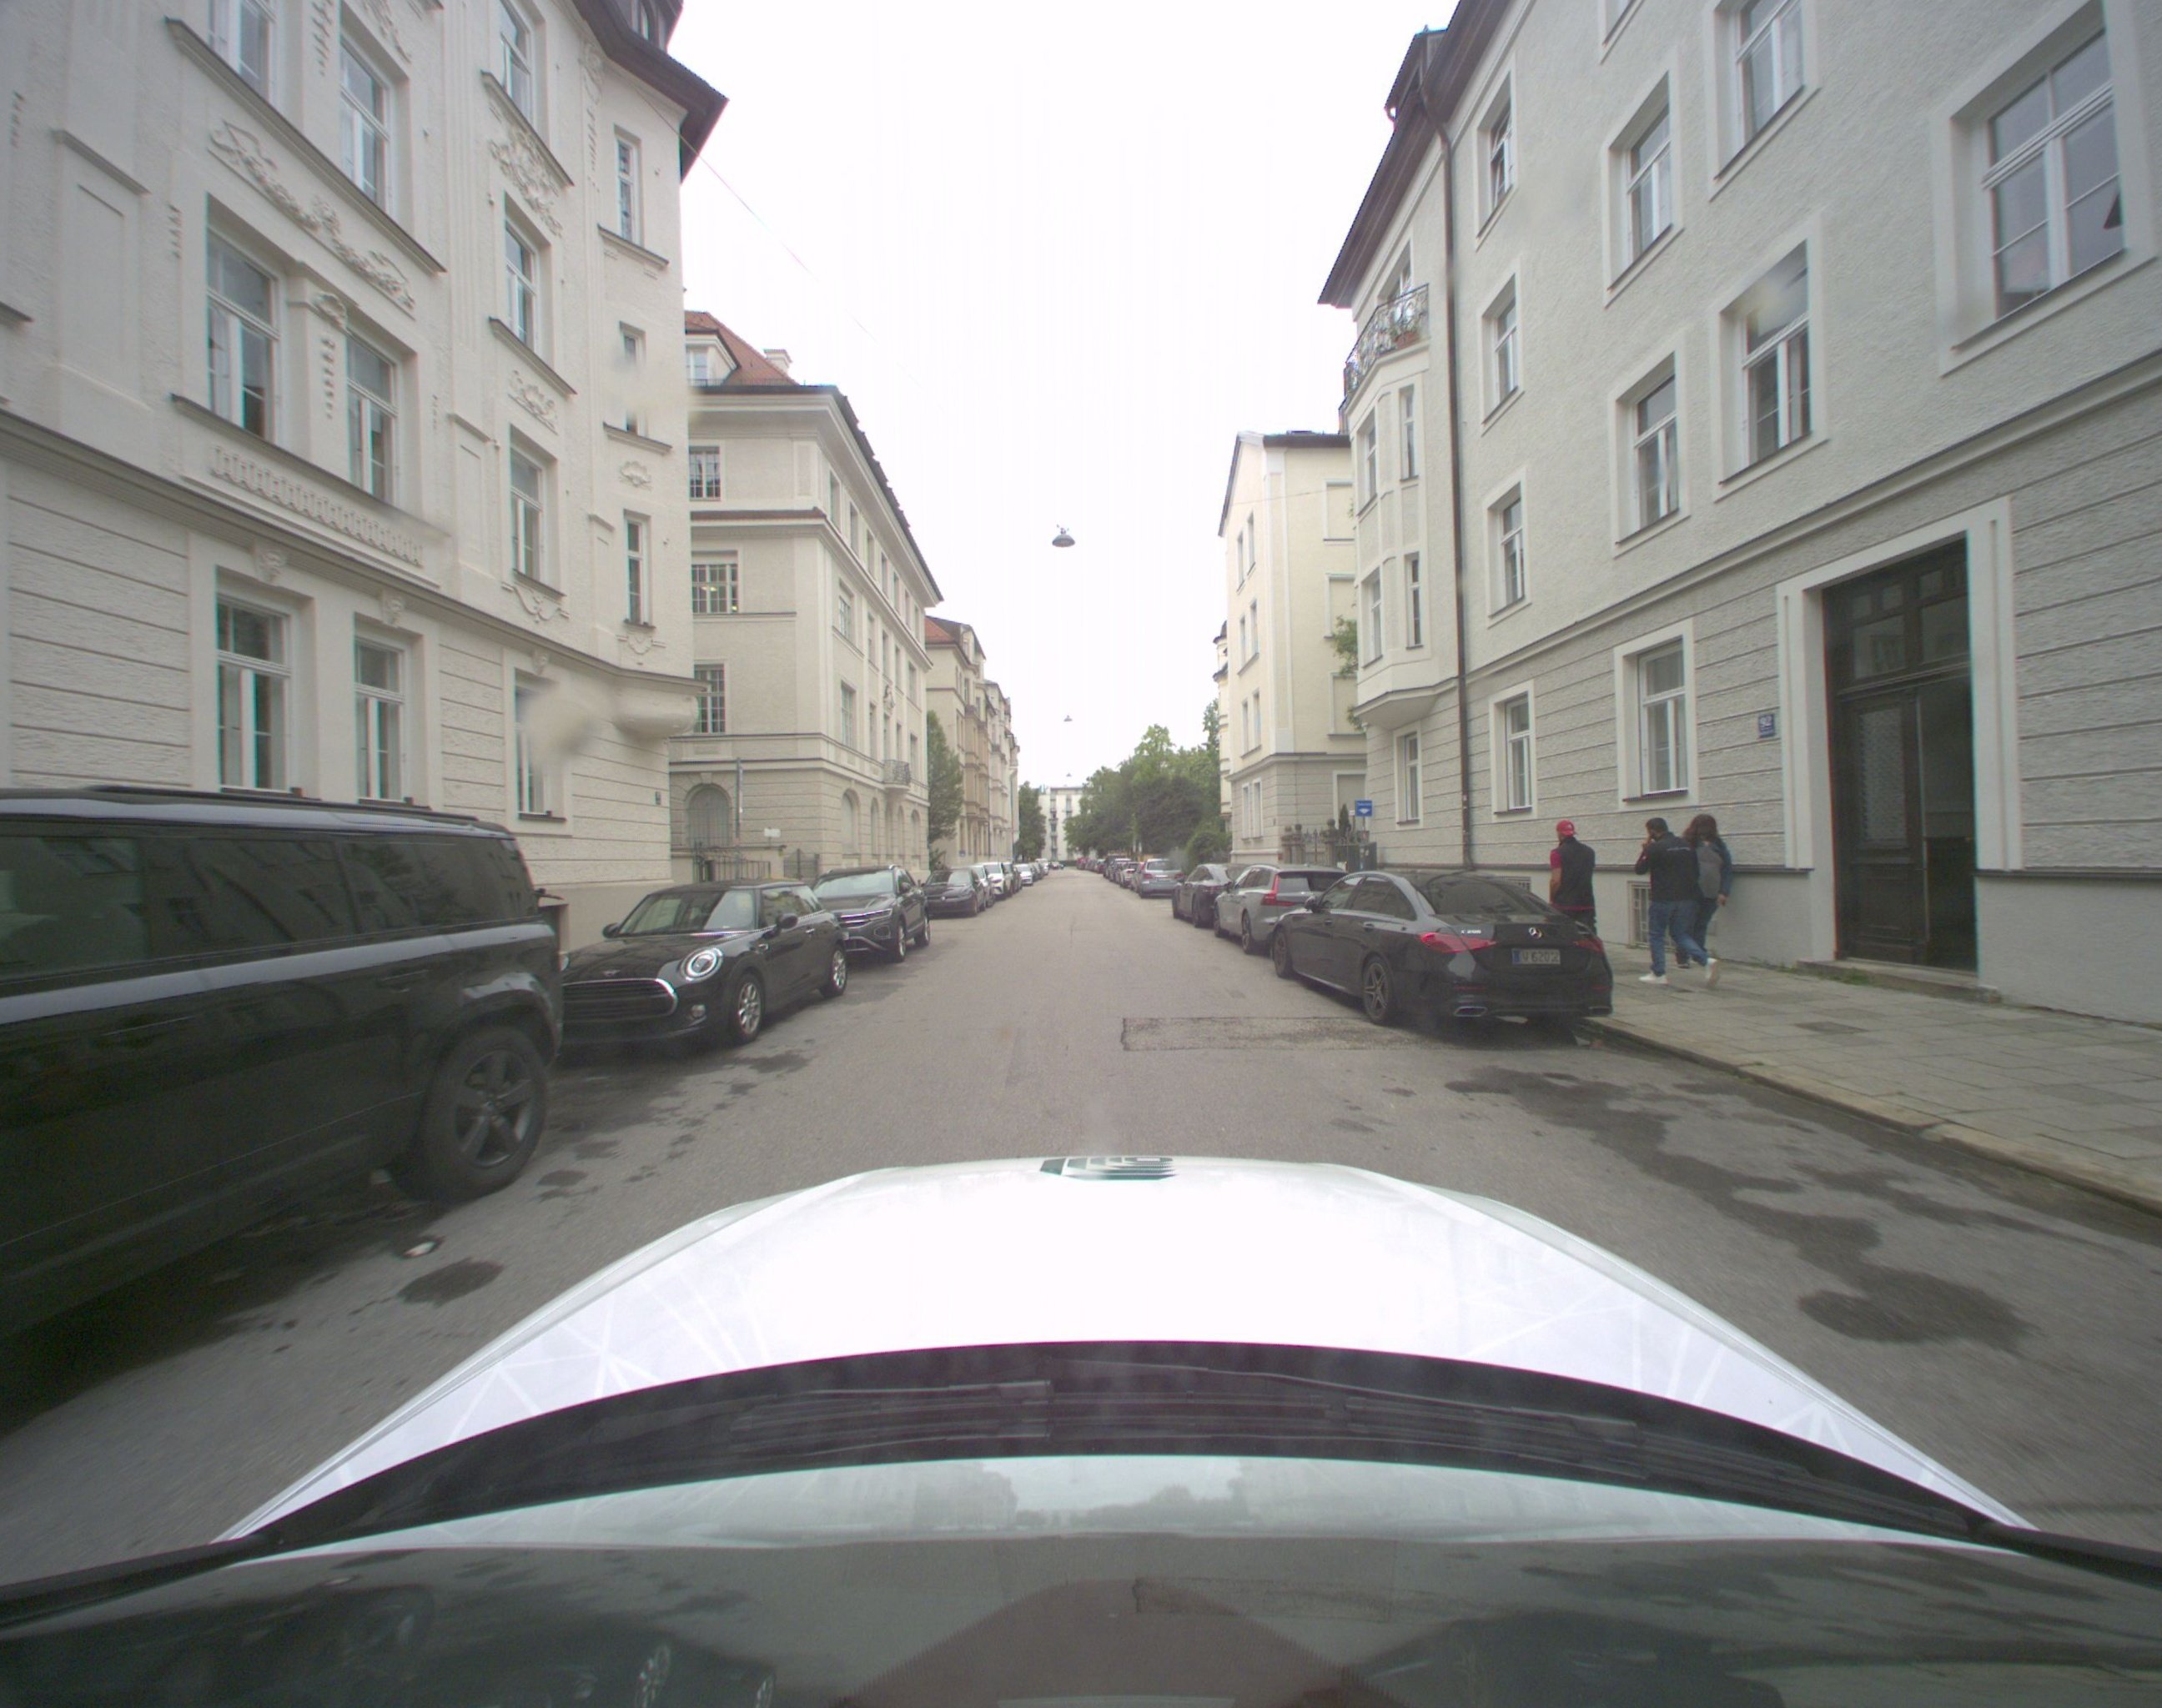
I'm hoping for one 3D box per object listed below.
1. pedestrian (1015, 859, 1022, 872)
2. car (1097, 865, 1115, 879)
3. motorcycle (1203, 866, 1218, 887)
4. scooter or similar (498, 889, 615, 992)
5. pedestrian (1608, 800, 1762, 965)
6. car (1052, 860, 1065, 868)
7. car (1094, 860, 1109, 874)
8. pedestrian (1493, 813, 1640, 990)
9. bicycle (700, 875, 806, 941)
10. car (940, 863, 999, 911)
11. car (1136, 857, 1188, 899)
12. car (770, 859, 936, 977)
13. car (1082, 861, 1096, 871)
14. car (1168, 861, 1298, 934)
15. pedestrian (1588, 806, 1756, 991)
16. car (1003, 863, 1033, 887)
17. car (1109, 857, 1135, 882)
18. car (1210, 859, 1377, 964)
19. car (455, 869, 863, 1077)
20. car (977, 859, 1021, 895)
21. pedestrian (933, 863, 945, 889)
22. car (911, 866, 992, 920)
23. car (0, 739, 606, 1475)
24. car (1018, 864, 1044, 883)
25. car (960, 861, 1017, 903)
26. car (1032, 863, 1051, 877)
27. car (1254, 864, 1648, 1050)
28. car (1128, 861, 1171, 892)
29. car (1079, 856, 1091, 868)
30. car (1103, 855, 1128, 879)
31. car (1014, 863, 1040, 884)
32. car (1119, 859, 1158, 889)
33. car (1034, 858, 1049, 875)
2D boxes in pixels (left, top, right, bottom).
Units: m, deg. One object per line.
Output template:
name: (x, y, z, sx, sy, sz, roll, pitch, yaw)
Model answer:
pedestrian: (-8.210, 1.523, 106.833, 0.792, 1.679, 0.698, -1, -1, -9)
car: (2.761, 1.966, 89.549, 1.833, 1.413, 4.340, 0, -1, -1)
motorcycle: (6.981, 1.206, 43.980, 0.605, 1.112, 1.966, -2, -1, 3)
scooter or similar: (-6.912, 1.098, 10.813, 0.530, 1.200, 1.548, -2, -1, 0)
pedestrian: (7.282, 0.330, 9.893, 0.880, 1.813, 1.111, -5, -1, 0)
car: (-3.981, 1.738, 140.831, 1.872, 1.428, 4.399, -2, 0, -6)
car: (2.453, 1.538, 99.464, 1.510, 1.661, 3.669, 0, -1, -3)
pedestrian: (5.385, 0.498, 9.111, 0.880, 1.811, 1.111, -3, 0, 0)
bicycle: (-7.114, 1.131, 17.888, 1.148, 1.242, 2.716, 2, -1, 0)
car: (-4.048, 1.146, 30.220, 1.779, 1.541, 4.251, -4, 0, -4)
car: (3.283, 0.943, 33.630, 1.815, 1.569, 4.401, 1, 0, 1)
car: (-3.680, 0.947, 13.919, 1.722, 1.618, 4.118, -3, 0, -2)
car: (1.217, 1.901, 128.131, 1.835, 1.519, 3.941, 0, -1, -4)
car: (3.442, 0.927, 19.390, 1.989, 1.457, 4.708, -2, 0, -3)
pedestrian: (6.252, 0.445, 8.692, 0.880, 1.786, 1.111, -3, 0, 0)
car: (-4.307, 1.419, 55.989, 1.832, 1.434, 4.241, -3, 0, -2)
car: (3.105, 1.163, 61.854, 1.717, 1.769, 4.412, 1, -1, 0)
car: (3.488, 0.864, 14.217, 1.755, 1.485, 4.419, 1, 0, 0)
car: (-3.769, 0.944, 8.297, 1.830, 1.394, 4.244, -3, 0, 0)
car: (-4.039, 1.103, 40.807, 1.831, 1.619, 4.242, -1, 0, -1)
pedestrian: (-9.193, 1.419, 52.802, 0.672, 1.626, 0.630, -2, -1, -4)
car: (-3.950, 1.150, 25.528, 1.787, 1.415, 4.277, -4, -1, -1)
car: (-3.734, 0.696, 2.387, 1.831, 1.894, 4.761, -3, 0, -1)
car: (-4.319, 1.636, 70.966, 1.831, 1.436, 4.244, -4, 0, 0)
car: (-3.924, 1.165, 35.271, 1.909, 1.619, 4.570, -1, 0, 0)
car: (-4.460, 1.765, 91.737, 1.831, 1.438, 4.274, -4, 0, 0)
car: (3.508, 0.849, 8.985, 1.833, 1.399, 4.966, 0, 0, -4)
car: (3.256, 1.053, 39.371, 1.749, 1.406, 3.450, 0, -1, -1)
car: (0.686, 1.402, 140.152, 1.829, 1.927, 4.006, 1, 0, 1)
car: (3.003, 1.111, 71.286, 1.945, 1.954, 4.663, 0, 0, -1)
car: (-4.333, 1.530, 65.538, 1.829, 1.434, 4.550, -3, 0, -2)
car: (3.098, 1.055, 44.476, 1.779, 1.504, 4.063, 0, -1, -1)
car: (-5.336, 1.615, 110.218, 1.882, 2.127, 4.701, -4, 0, -3)
